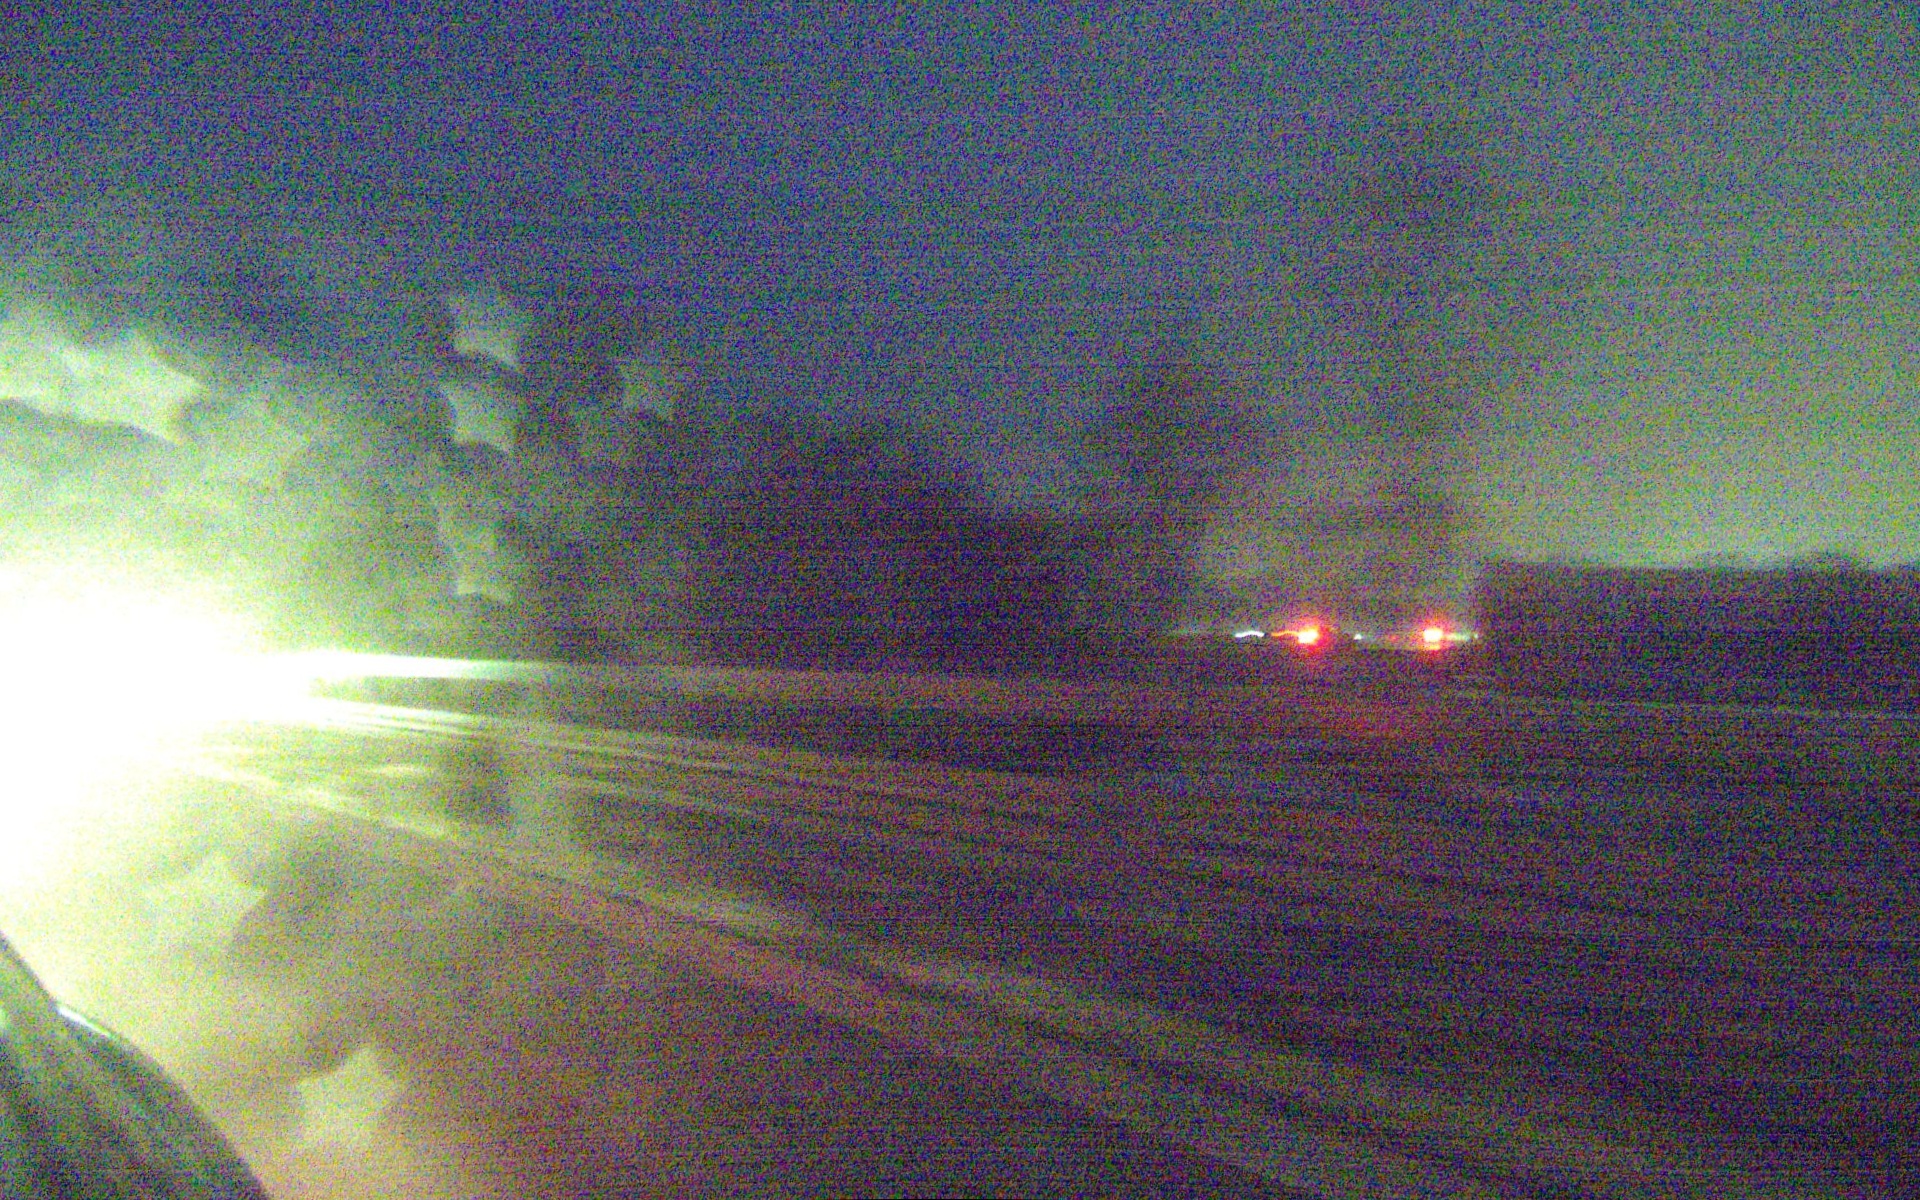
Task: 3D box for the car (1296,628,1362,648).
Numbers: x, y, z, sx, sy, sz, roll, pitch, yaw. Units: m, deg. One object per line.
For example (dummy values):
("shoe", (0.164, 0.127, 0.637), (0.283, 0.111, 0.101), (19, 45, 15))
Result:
("car", (30.491, 3.143, 83.615), (4.777, 1.627, 1.942), (0, 0, -9))
